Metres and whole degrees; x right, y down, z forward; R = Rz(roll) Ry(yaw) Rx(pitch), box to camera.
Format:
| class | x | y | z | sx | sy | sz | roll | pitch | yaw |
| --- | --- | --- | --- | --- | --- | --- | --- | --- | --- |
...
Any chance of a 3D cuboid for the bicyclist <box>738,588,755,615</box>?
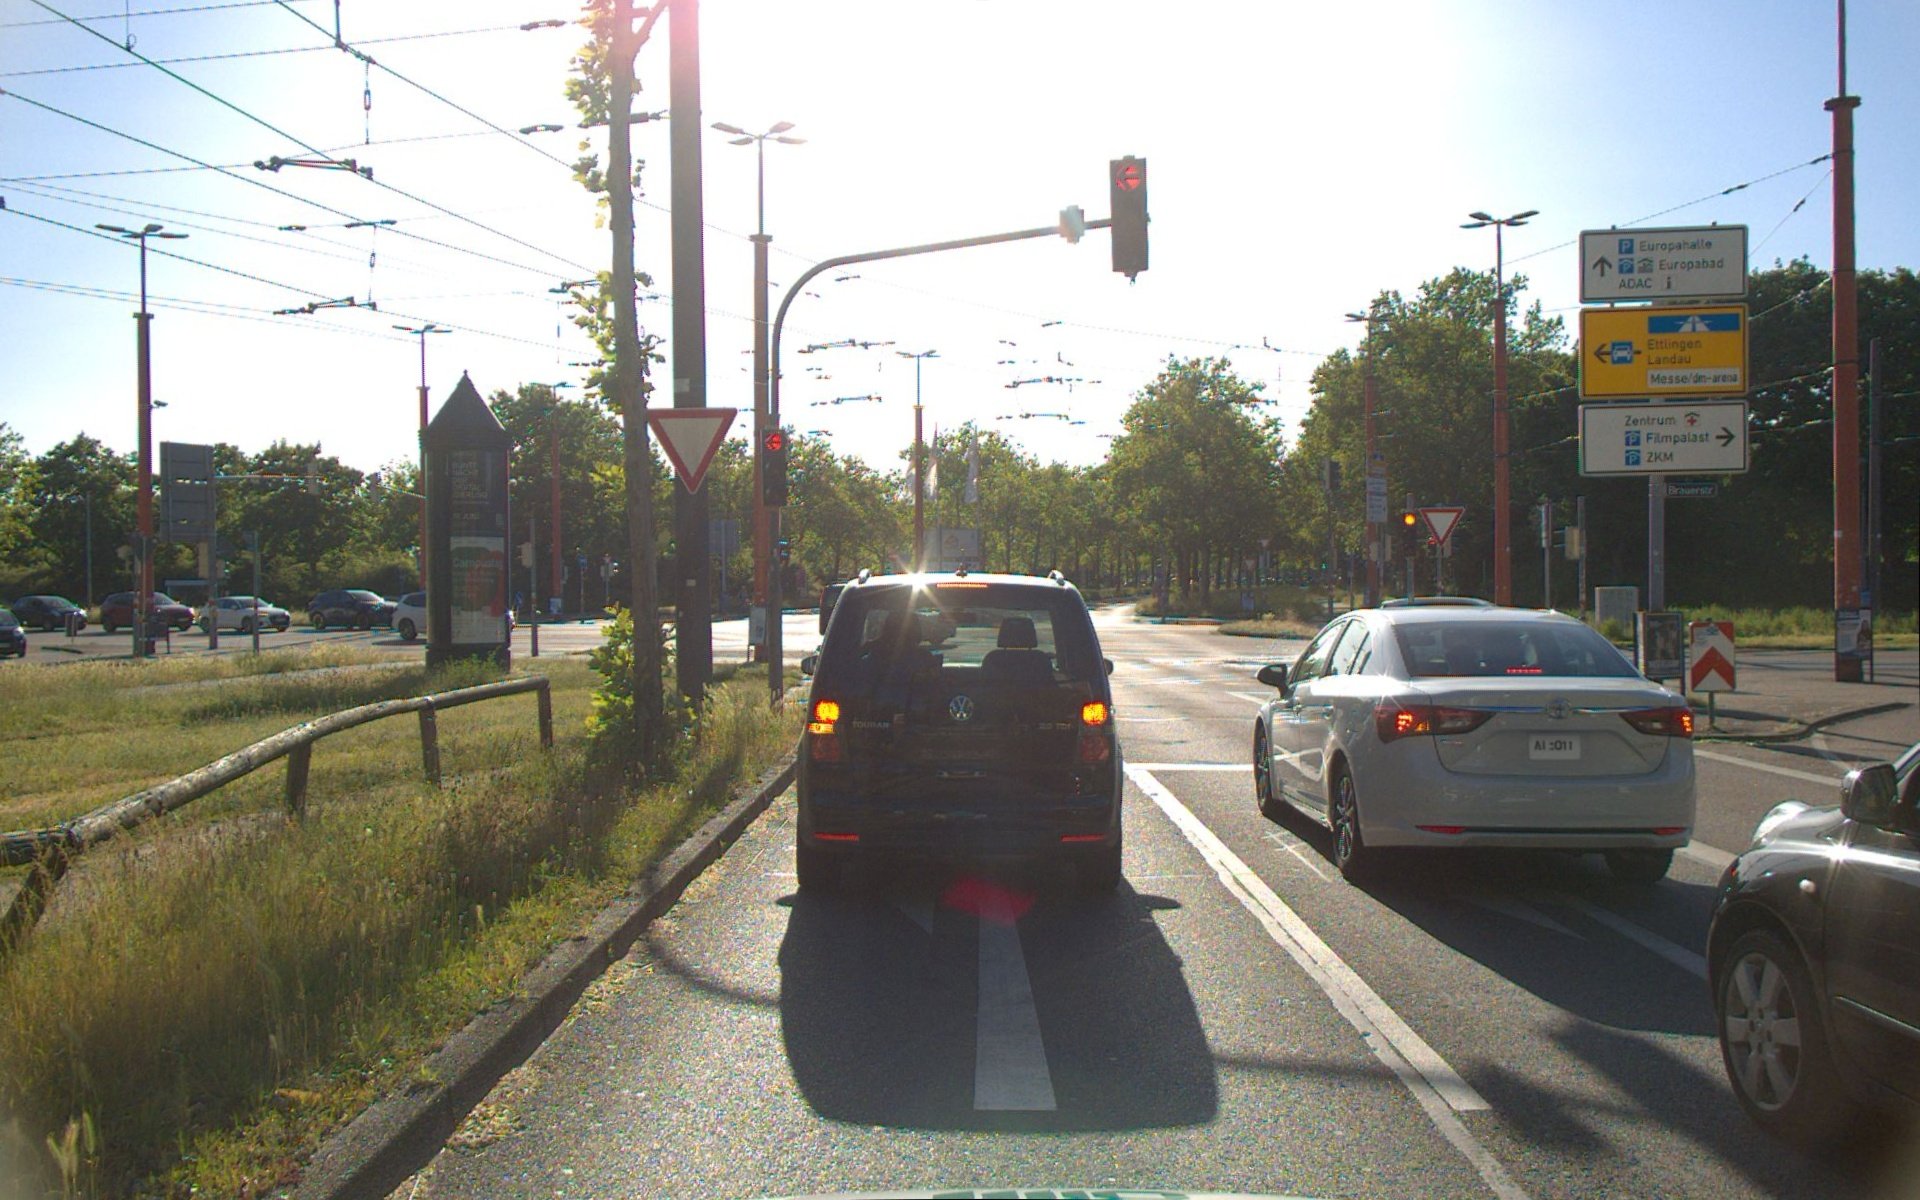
| class | x | y | z | sx | sy | sz | roll | pitch | yaw |
| --- | --- | --- | --- | --- | --- | --- | --- | --- | --- |
| bicyclist | -12.203 | 0.088 | 94.453 | 0.678 | 1.483 | 0.875 | 0 | 0 | 17 |

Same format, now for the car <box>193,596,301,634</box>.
| class | x | y | z | sx | sy | sz | roll | pitch | yaw |
| --- | --- | --- | --- | --- | --- | --- | --- | --- | --- |
| car | -29.315 | 0.597 | 67.988 | 4.127 | 1.489 | 1.912 | 0 | 0 | 27 |

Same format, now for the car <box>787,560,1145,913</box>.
| class | x | y | z | sx | sy | sz | roll | pitch | yaw |
| --- | --- | --- | --- | --- | --- | --- | --- | --- | --- |
| car | 0.003 | 0.642 | 9.878 | 1.702 | 1.670 | 3.999 | 0 | 0 | -1 |

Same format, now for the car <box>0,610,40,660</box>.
| class | x | y | z | sx | sy | sz | roll | pitch | yaw |
| --- | --- | --- | --- | --- | --- | --- | --- | --- | --- |
| car | -29.255 | 1.047 | 50.216 | 1.808 | 1.445 | 3.708 | 0 | 0 | -37 |

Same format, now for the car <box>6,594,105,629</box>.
| class | x | y | z | sx | sy | sz | roll | pitch | yaw |
| --- | --- | --- | --- | --- | --- | --- | --- | --- | --- |
| car | -40.007 | 0.495 | 73.176 | 3.963 | 1.489 | 1.912 | 0 | 0 | 26 |

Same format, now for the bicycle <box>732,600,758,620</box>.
| class | x | y | z | sx | sy | sz | roll | pitch | yaw |
| --- | --- | --- | --- | --- | --- | --- | --- | --- | --- |
| bicycle | -12.234 | 0.563 | 94.234 | 0.719 | 1.109 | 1.962 | 0 | 0 | 18 |

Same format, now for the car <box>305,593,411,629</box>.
| class | x | y | z | sx | sy | sz | roll | pitch | yaw |
| --- | --- | --- | --- | --- | --- | --- | --- | --- | --- |
| car | -25.238 | 0.440 | 69.331 | 4.127 | 1.489 | 1.912 | 0 | 0 | 27 |

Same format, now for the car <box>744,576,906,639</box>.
| class | x | y | z | sx | sy | sz | roll | pitch | yaw |
| --- | --- | --- | --- | --- | --- | --- | --- | --- | --- |
| car | -4.172 | 0.233 | 50.879 | 4.687 | 1.868 | 1.912 | 0 | 0 | 27 |

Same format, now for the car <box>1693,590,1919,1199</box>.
| class | x | y | z | sx | sy | sz | roll | pitch | yaw |
| --- | --- | --- | --- | --- | --- | --- | --- | --- | --- |
| car | 3.124 | 0.742 | 3.523 | 1.525 | 1.532 | 3.515 | 0 | 0 | -1 |

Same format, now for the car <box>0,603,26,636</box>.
| class | x | y | z | sx | sy | sz | roll | pitch | yaw |
| --- | --- | --- | --- | --- | --- | --- | --- | --- | --- |
| car | -45.054 | 0.876 | 75.783 | 4.143 | 1.489 | 1.913 | 0 | 0 | 26 |

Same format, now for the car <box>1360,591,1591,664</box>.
| class | x | y | z | sx | sy | sz | roll | pitch | yaw |
| --- | --- | --- | --- | --- | --- | --- | --- | --- | --- |
| car | 11.893 | 0.595 | 38.228 | 4.820 | 1.602 | 1.997 | 0 | 0 | 28 |

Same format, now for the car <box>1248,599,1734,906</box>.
| class | x | y | z | sx | sy | sz | roll | pitch | yaw |
| --- | --- | --- | --- | --- | --- | --- | --- | --- | --- |
| car | 2.944 | 0.739 | 10.123 | 1.679 | 1.480 | 4.144 | 0 | 0 | 0 |

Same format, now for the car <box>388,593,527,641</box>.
| class | x | y | z | sx | sy | sz | roll | pitch | yaw |
| --- | --- | --- | --- | --- | --- | --- | --- | --- | --- |
| car | -17.696 | 0.576 | 58.215 | 4.687 | 1.626 | 1.912 | 0 | 0 | 27 |

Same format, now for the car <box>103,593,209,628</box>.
| class | x | y | z | sx | sy | sz | roll | pitch | yaw |
| --- | --- | --- | --- | --- | --- | --- | --- | --- | --- |
| car | -34.339 | 0.438 | 70.629 | 4.275 | 1.489 | 1.912 | 0 | 0 | 27 |
